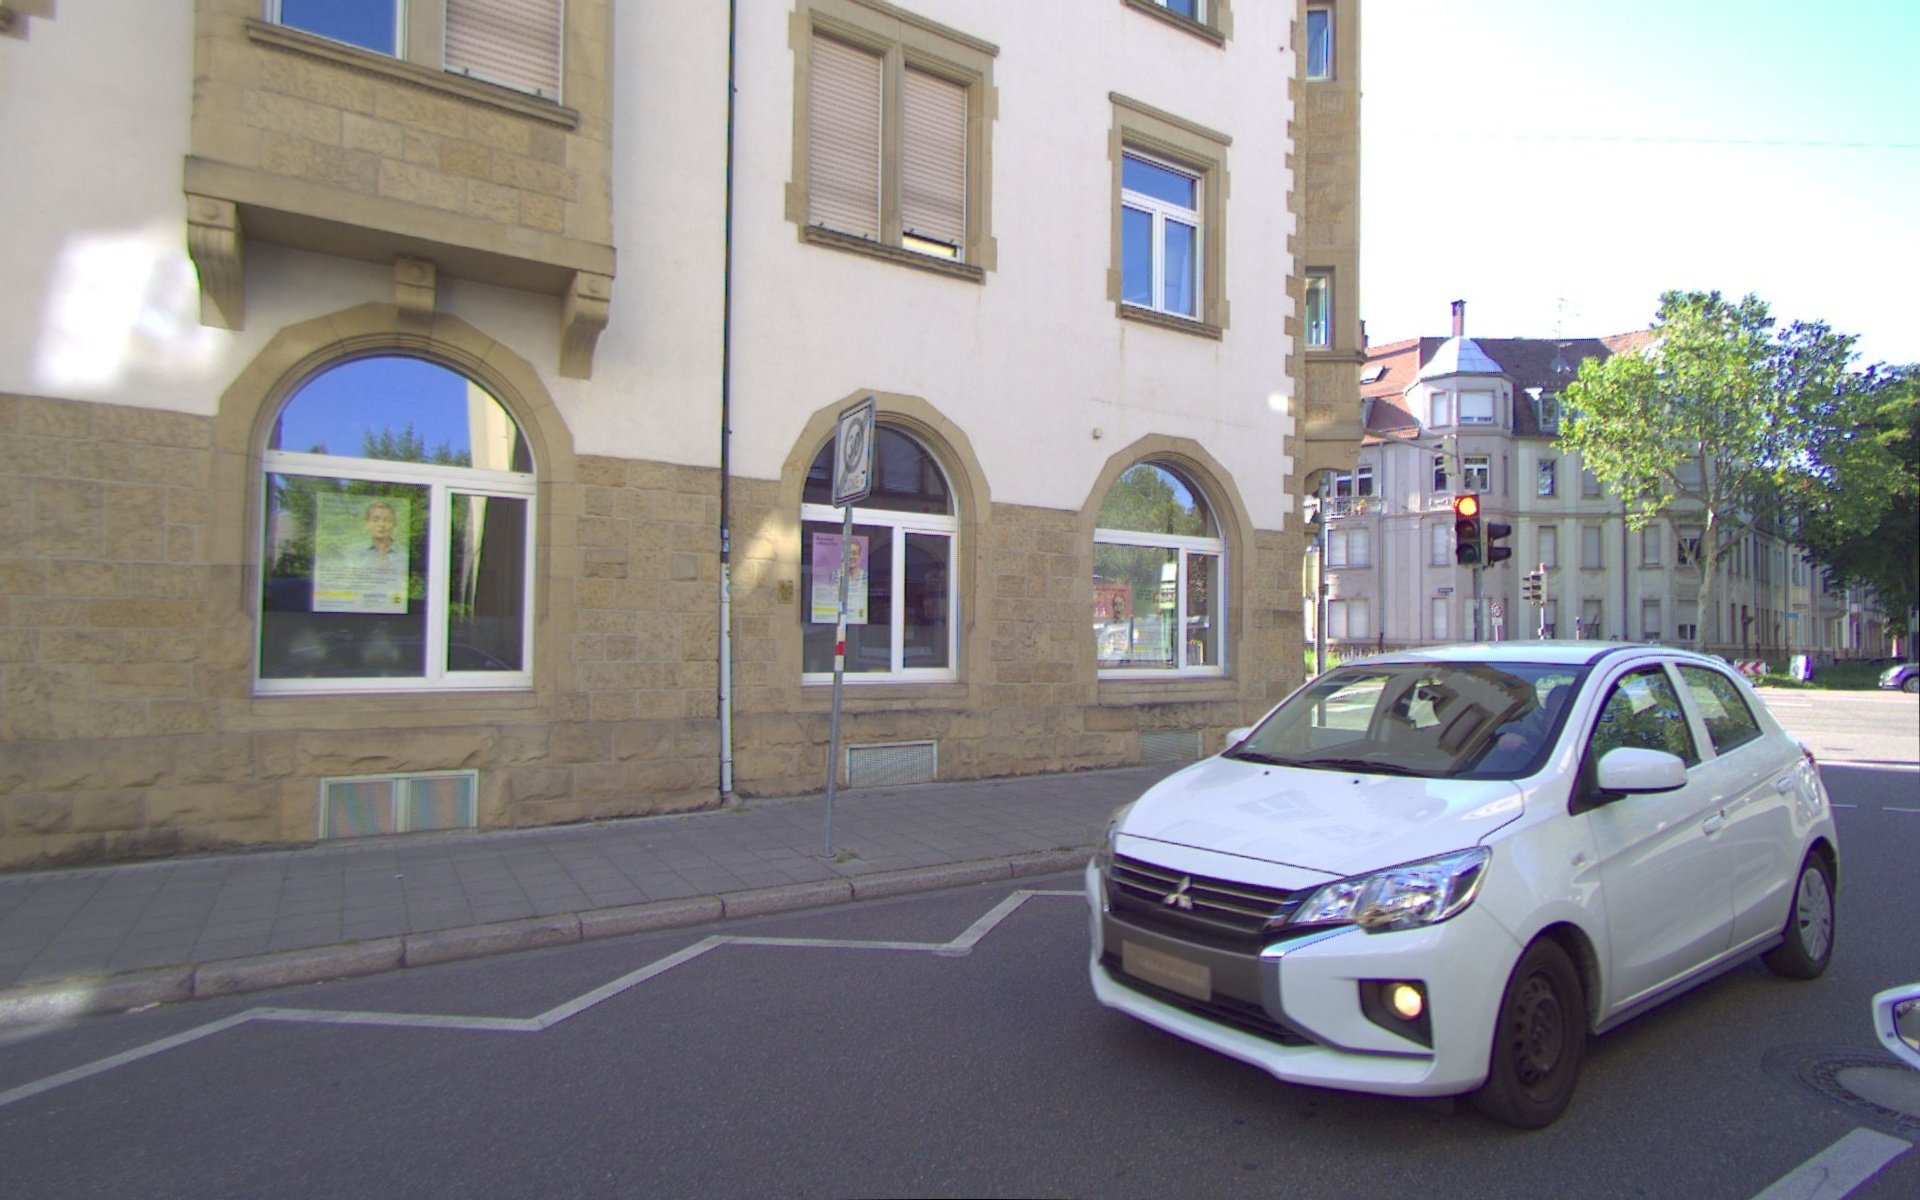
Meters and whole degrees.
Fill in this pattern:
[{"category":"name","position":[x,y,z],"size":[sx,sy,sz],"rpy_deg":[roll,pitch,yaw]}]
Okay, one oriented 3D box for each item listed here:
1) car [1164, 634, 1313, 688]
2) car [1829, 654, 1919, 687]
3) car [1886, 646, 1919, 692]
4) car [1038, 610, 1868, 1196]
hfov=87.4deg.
[{"category":"car","position":[8.374,1.807,30.389],"size":[3.944,1.336,1.812],"rpy_deg":[2,-1,43]},{"category":"car","position":[45.672,3.472,49.734],"size":[3.943,1.505,1.673],"rpy_deg":[-2,-3,42]},{"category":"car","position":[32.540,2.249,32.722],"size":[3.339,1.507,1.518],"rpy_deg":[-2,-3,39]},{"category":"car","position":[2.295,0.848,4.341],"size":[3.762,1.491,1.614],"rpy_deg":[2,-3,-35]}]
